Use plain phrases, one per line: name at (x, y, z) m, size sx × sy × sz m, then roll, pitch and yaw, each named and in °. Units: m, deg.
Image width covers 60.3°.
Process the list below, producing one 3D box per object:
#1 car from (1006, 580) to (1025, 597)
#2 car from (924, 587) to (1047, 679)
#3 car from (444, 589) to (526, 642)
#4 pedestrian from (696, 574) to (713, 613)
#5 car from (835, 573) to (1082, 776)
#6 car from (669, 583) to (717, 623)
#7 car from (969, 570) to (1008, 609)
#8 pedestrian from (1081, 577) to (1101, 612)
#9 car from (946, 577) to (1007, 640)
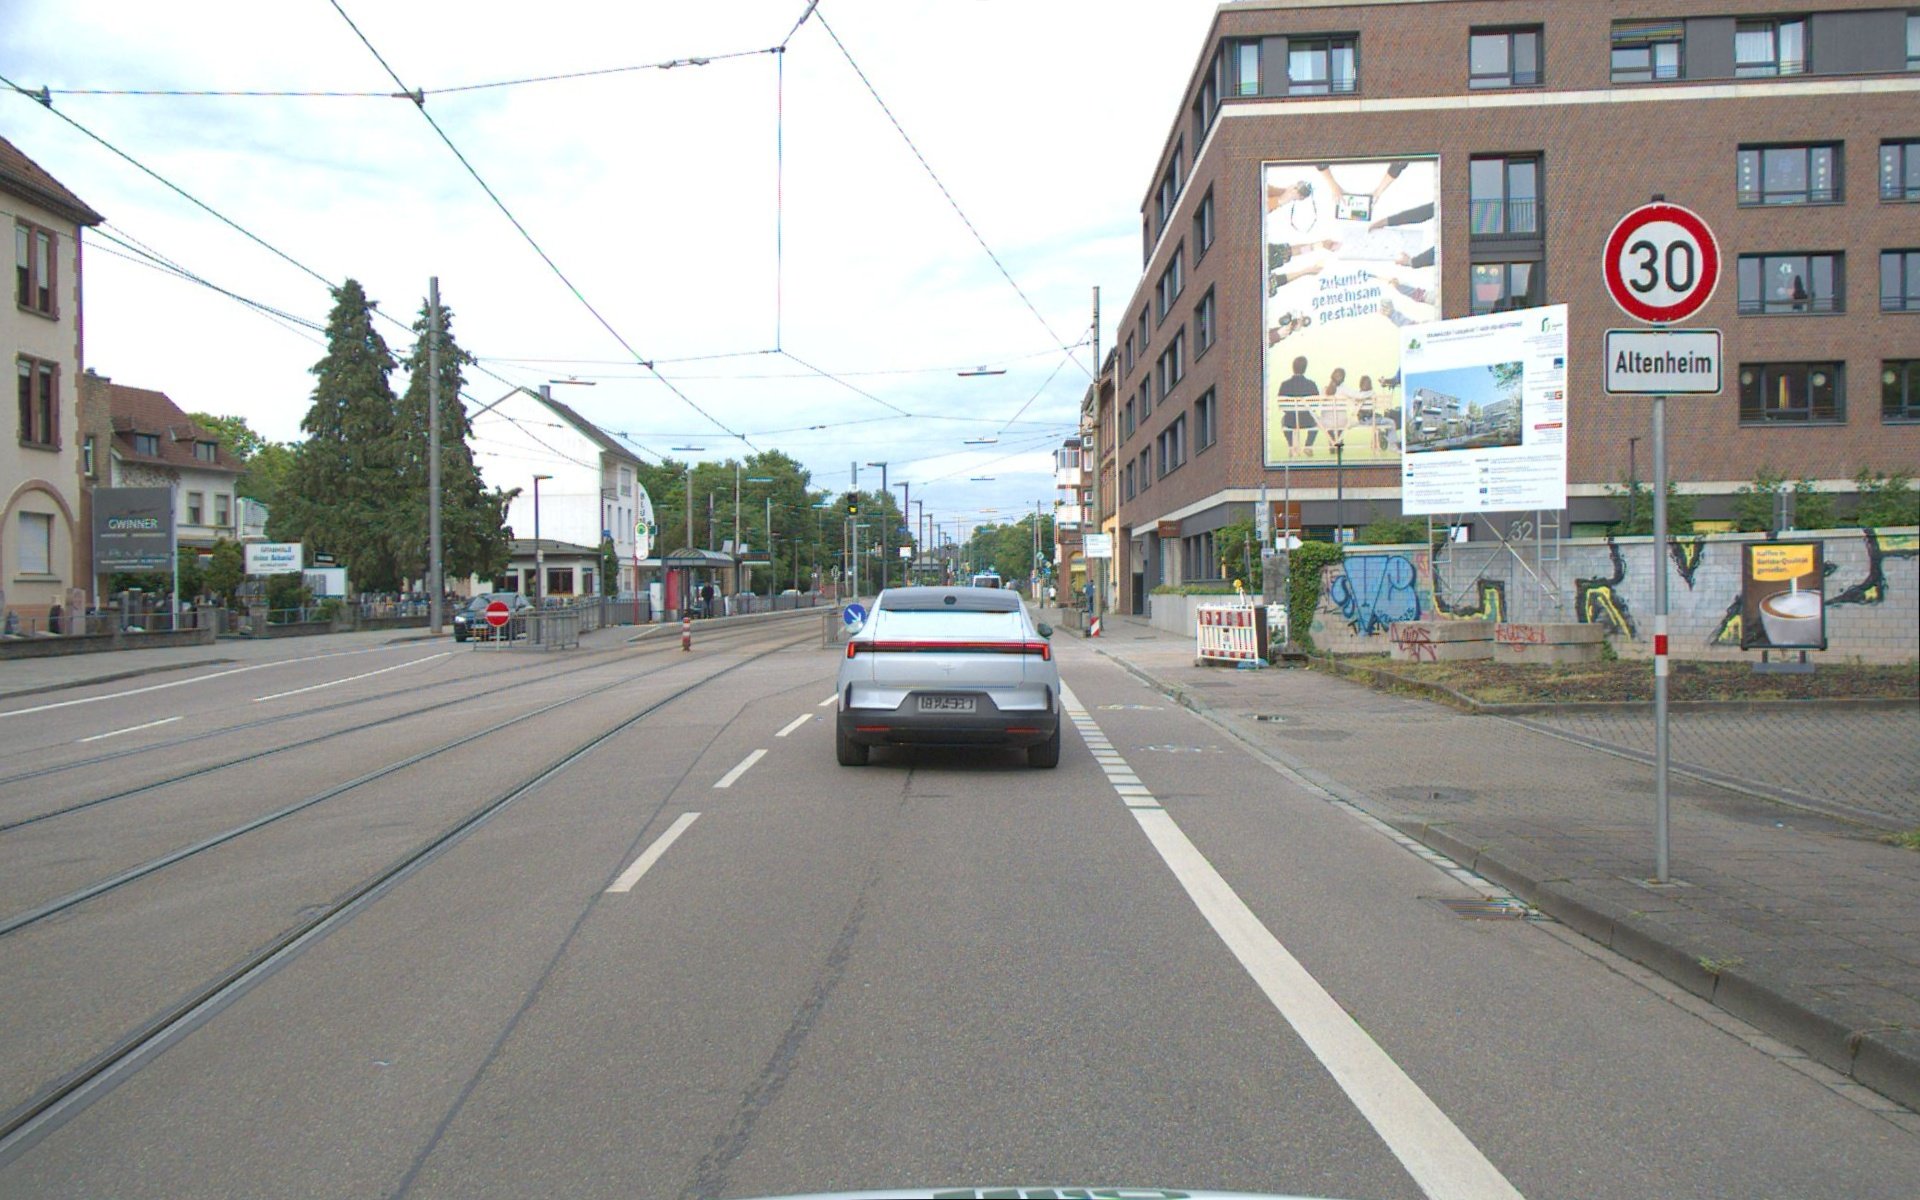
car at (8.567, -1.783, 256.155) m, size 2.749 × 2.548 × 5.723 m, roll 0°, pitch 0°, yaw 1°
car at (0.408, 0.516, 28.617) m, size 1.953 × 1.444 × 4.000 m, roll -1°, pitch 1°, yaw 0°
car at (-14.702, 0.449, 51.371) m, size 1.870 × 1.498 × 4.809 m, roll -2°, pitch 0°, yaw -10°
pedestrian at (-11.261, -0.283, 72.860) m, size 0.602 × 1.694 × 0.698 m, roll 0°, pitch 0°, yaw 5°
car at (-0.117, 0.603, 15.159) m, size 1.959 × 1.608 × 3.997 m, roll 0°, pitch 0°, yaw -3°
car at (-14.333, 0.148, 88.894) m, size 1.846 × 2.023 × 4.525 m, roll -1°, pitch 0°, yaw 0°
car at (1.771, -0.651, 104.996) m, size 2.181 × 2.444 × 5.121 m, roll 0°, pitch 0°, yaw -2°
pedestrian at (7.334, -0.297, 92.591) m, size 0.940 × 1.882 × 0.976 m, roll -3°, pitch 1°, yaw 7°
car at (0.502, 0.229, 46.641) m, size 1.646 × 1.717 × 3.824 m, roll 0°, pitch 0°, yaw 1°
